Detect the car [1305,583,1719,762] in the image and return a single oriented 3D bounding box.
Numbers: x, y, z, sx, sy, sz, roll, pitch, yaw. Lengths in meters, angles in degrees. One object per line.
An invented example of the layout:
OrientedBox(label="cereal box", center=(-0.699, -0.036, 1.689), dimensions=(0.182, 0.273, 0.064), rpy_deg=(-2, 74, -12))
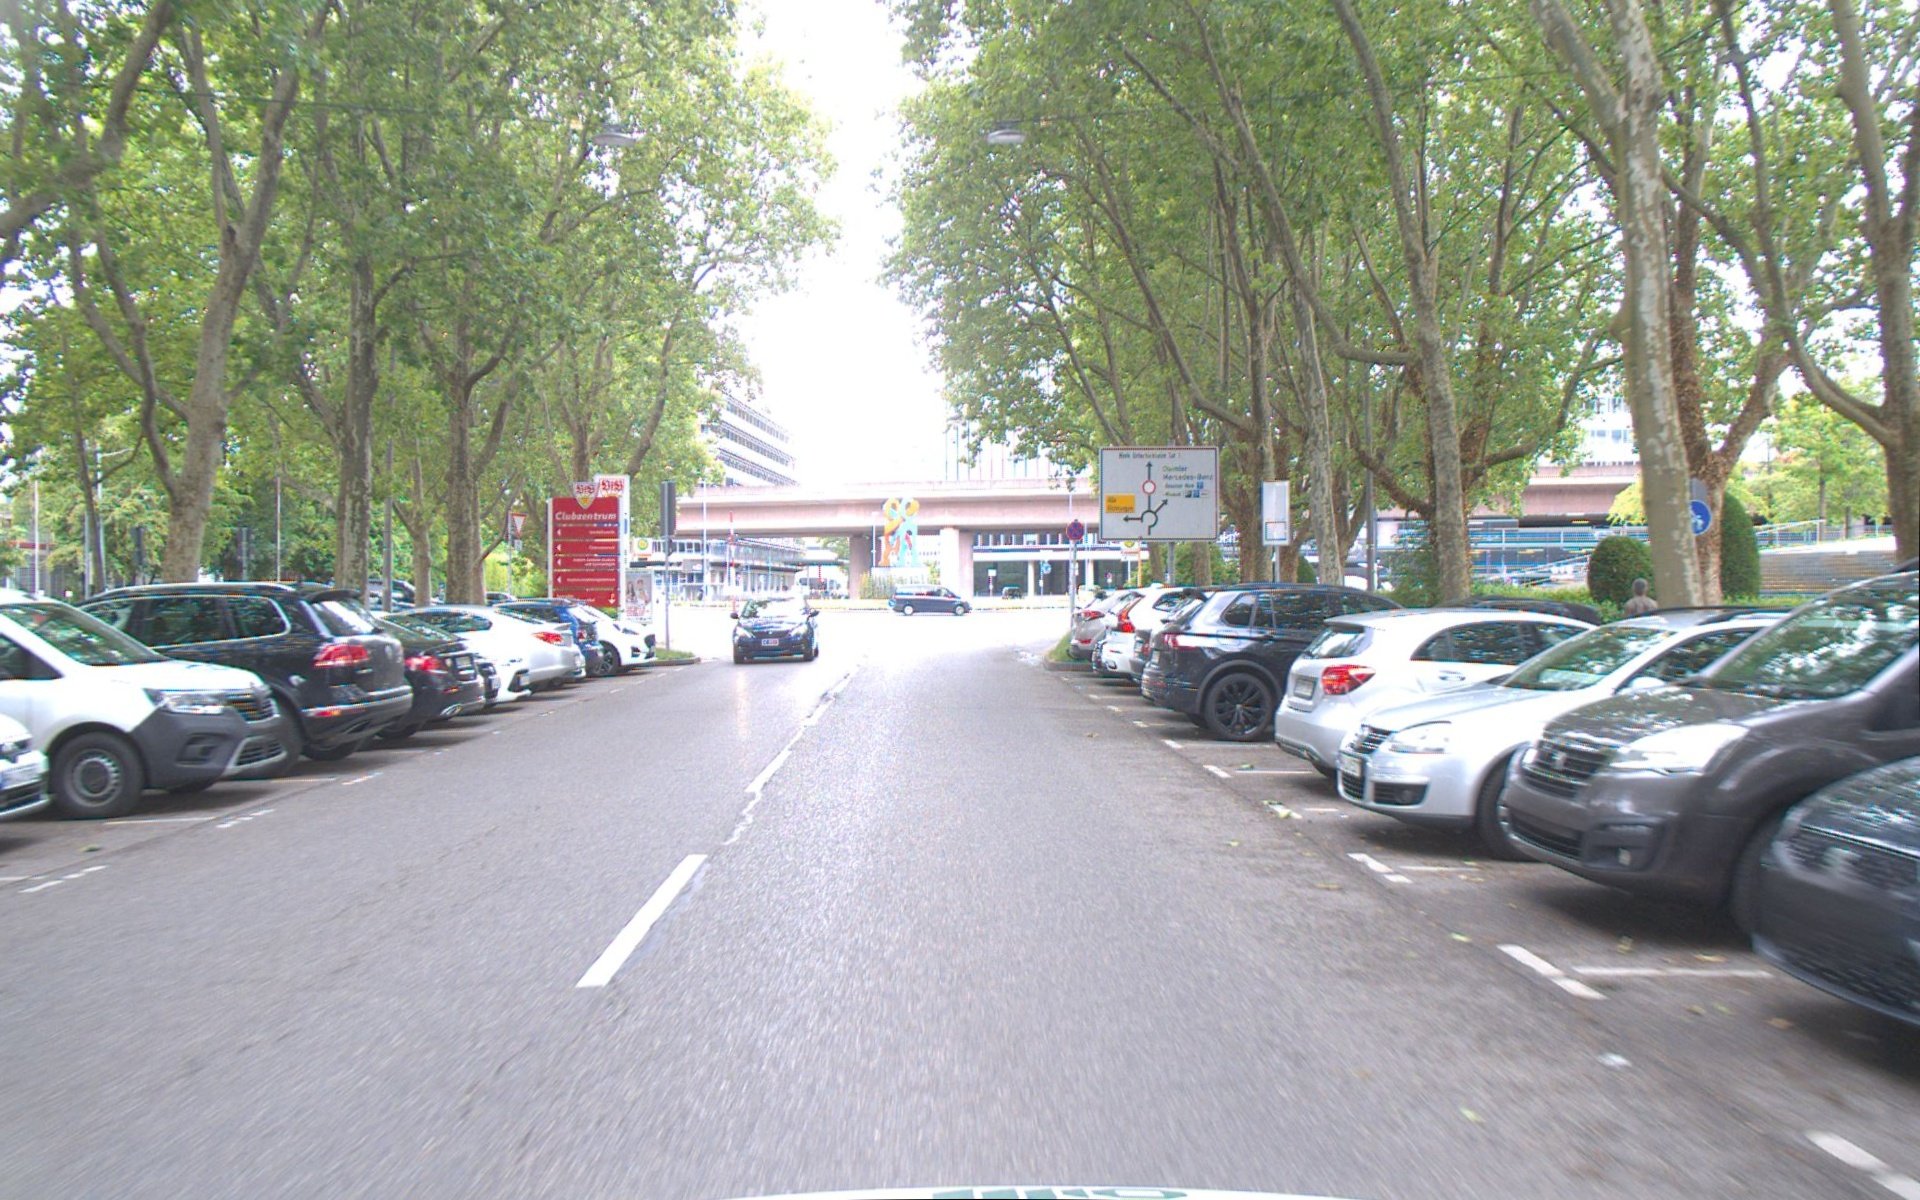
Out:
OrientedBox(label="car", center=(5.182, 0.645, 15.812), dimensions=(3.365, 1.518, 1.680), rpy_deg=(-2, 0, -3))

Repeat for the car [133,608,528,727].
OrientedBox(label="car", center=(-7.606, 0.799, 20.326), dimensions=(4.106, 1.378, 1.966), rpy_deg=(0, 0, -4))

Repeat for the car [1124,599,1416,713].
OrientedBox(label="car", center=(4.230, 0.749, 22.960), dimensions=(3.656, 1.427, 1.775), rpy_deg=(2, 0, -2))

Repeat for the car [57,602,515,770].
OrientedBox(label="car", center=(-7.163, 0.882, 17.914), dimensions=(4.044, 1.477, 2.013), rpy_deg=(-3, 1, 0))

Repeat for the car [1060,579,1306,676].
OrientedBox(label="car", center=(4.057, 0.479, 30.589), dimensions=(4.258, 1.662, 1.925), rpy_deg=(1, 1, -1))

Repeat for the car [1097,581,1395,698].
OrientedBox(label="car", center=(4.356, 0.585, 25.645), dimensions=(4.258, 1.662, 1.925), rpy_deg=(1, 1, -1))

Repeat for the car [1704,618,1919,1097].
OrientedBox(label="car", center=(4.871, 0.821, 5.544), dimensions=(3.958, 1.404, 1.743), rpy_deg=(1, 1, -1))

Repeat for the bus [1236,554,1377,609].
OrientedBox(label="bus", center=(26.425, -1.380, 125.931), dimensions=(10.896, 4.003, 2.739), rpy_deg=(0, 0, -23))

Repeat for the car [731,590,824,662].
OrientedBox(label="car", center=(-4.059, 0.563, 37.302), dimensions=(1.805, 1.536, 4.013), rpy_deg=(0, 0, -3))

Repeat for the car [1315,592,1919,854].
OrientedBox(label="car", center=(4.492, 0.723, 10.552), dimensions=(4.064, 1.483, 1.727), rpy_deg=(1, 0, -1))

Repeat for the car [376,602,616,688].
OrientedBox(label="car", center=(-8.496, 0.815, 30.542), dimensions=(3.913, 1.520, 1.832), rpy_deg=(0, 0, -2))

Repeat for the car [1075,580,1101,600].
OrientedBox(label="car", center=(13.082, -1.011, 168.912), dimensions=(1.951, 2.049, 4.002), rpy_deg=(0, 0, 16))

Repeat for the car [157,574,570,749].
OrientedBox(label="car", center=(-7.066, 0.688, 19.931), dimensions=(4.230, 1.841, 1.867), rpy_deg=(-2, 1, -1))

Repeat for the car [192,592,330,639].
OrientedBox(label="car", center=(-24.097, 0.529, 57.149), dimensions=(3.906, 1.549, 2.001), rpy_deg=(0, 0, -1))

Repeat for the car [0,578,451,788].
OrientedBox(label="car", center=(-7.200, 0.728, 15.471), dimensions=(4.230, 1.826, 2.036), rpy_deg=(0, 0, -1))

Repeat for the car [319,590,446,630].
OrientedBox(label="car", center=(-23.989, 0.436, 68.812), dimensions=(4.530, 1.595, 2.109), rpy_deg=(0, -1, 1))

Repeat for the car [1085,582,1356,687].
OrientedBox(label="car", center=(4.331, 0.556, 27.976), dimensions=(4.258, 1.633, 1.925), rpy_deg=(1, 1, -1))

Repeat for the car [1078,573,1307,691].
OrientedBox(label="car", center=(4.225, 0.556, 30.507), dimensions=(3.906, 2.049, 2.000), rpy_deg=(1, 1, -1))

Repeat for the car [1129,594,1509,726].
OrientedBox(label="car", center=(4.379, 0.710, 20.607), dimensions=(4.259, 1.481, 1.948), rpy_deg=(1, 1, -3))

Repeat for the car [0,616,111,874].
OrientedBox(label="car", center=(-7.577, 0.940, 10.245), dimensions=(3.716, 1.497, 1.759), rpy_deg=(-2, 1, -12))

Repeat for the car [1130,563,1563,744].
OrientedBox(label="car", center=(4.145, 0.558, 18.206), dimensions=(4.259, 1.791, 1.924), rpy_deg=(1, 0, -3))

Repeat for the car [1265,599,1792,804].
OrientedBox(label="car", center=(4.389, 0.759, 13.083), dimensions=(3.568, 1.452, 1.664), rpy_deg=(1, 1, -5))

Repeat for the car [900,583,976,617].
OrientedBox(label="car", center=(-1.384, 0.007, 103.091), dimensions=(4.673, 2.049, 2.282), rpy_deg=(0, 0, -4))

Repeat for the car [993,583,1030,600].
OrientedBox(label="car", center=(5.423, -0.864, 173.721), dimensions=(1.961, 1.803, 3.982), rpy_deg=(0, 0, 38))

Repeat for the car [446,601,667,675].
OrientedBox(label="car", center=(-8.011, 0.736, 33.089), dimensions=(3.911, 1.409, 1.912), rpy_deg=(0, 0, 2))

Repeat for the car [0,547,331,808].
OrientedBox(label="car", center=(-7.415, 0.602, 12.948), dimensions=(4.233, 1.841, 1.866), rpy_deg=(-2, 1, -5))

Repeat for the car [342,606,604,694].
OrientedBox(label="car", center=(-8.214, 0.832, 28.153), dimensions=(3.906, 1.430, 1.861), rpy_deg=(0, 0, -2))

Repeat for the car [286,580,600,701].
OrientedBox(label="car", center=(-7.848, 0.597, 25.422), dimensions=(4.179, 1.575, 1.907), rpy_deg=(-3, 0, -4))

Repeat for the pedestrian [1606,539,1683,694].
OrientedBox(label="pedestrian", center=(9.213, 0.223, 22.268), dimensions=(0.772, 2.049, 0.596), rpy_deg=(0, 0, -18))

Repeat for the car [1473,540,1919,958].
OrientedBox(label="car", center=(4.939, 0.654, 8.090), dimensions=(4.260, 1.776, 1.836), rpy_deg=(1, 1, -3))

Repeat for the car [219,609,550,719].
OrientedBox(label="car", center=(-7.823, 0.856, 22.799), dimensions=(3.907, 1.429, 1.884), rpy_deg=(0, 0, -3))

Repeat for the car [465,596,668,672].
OrientedBox(label="car", center=(-8.390, 0.707, 35.491), dimensions=(3.912, 1.567, 1.805), rpy_deg=(0, 0, 0))
